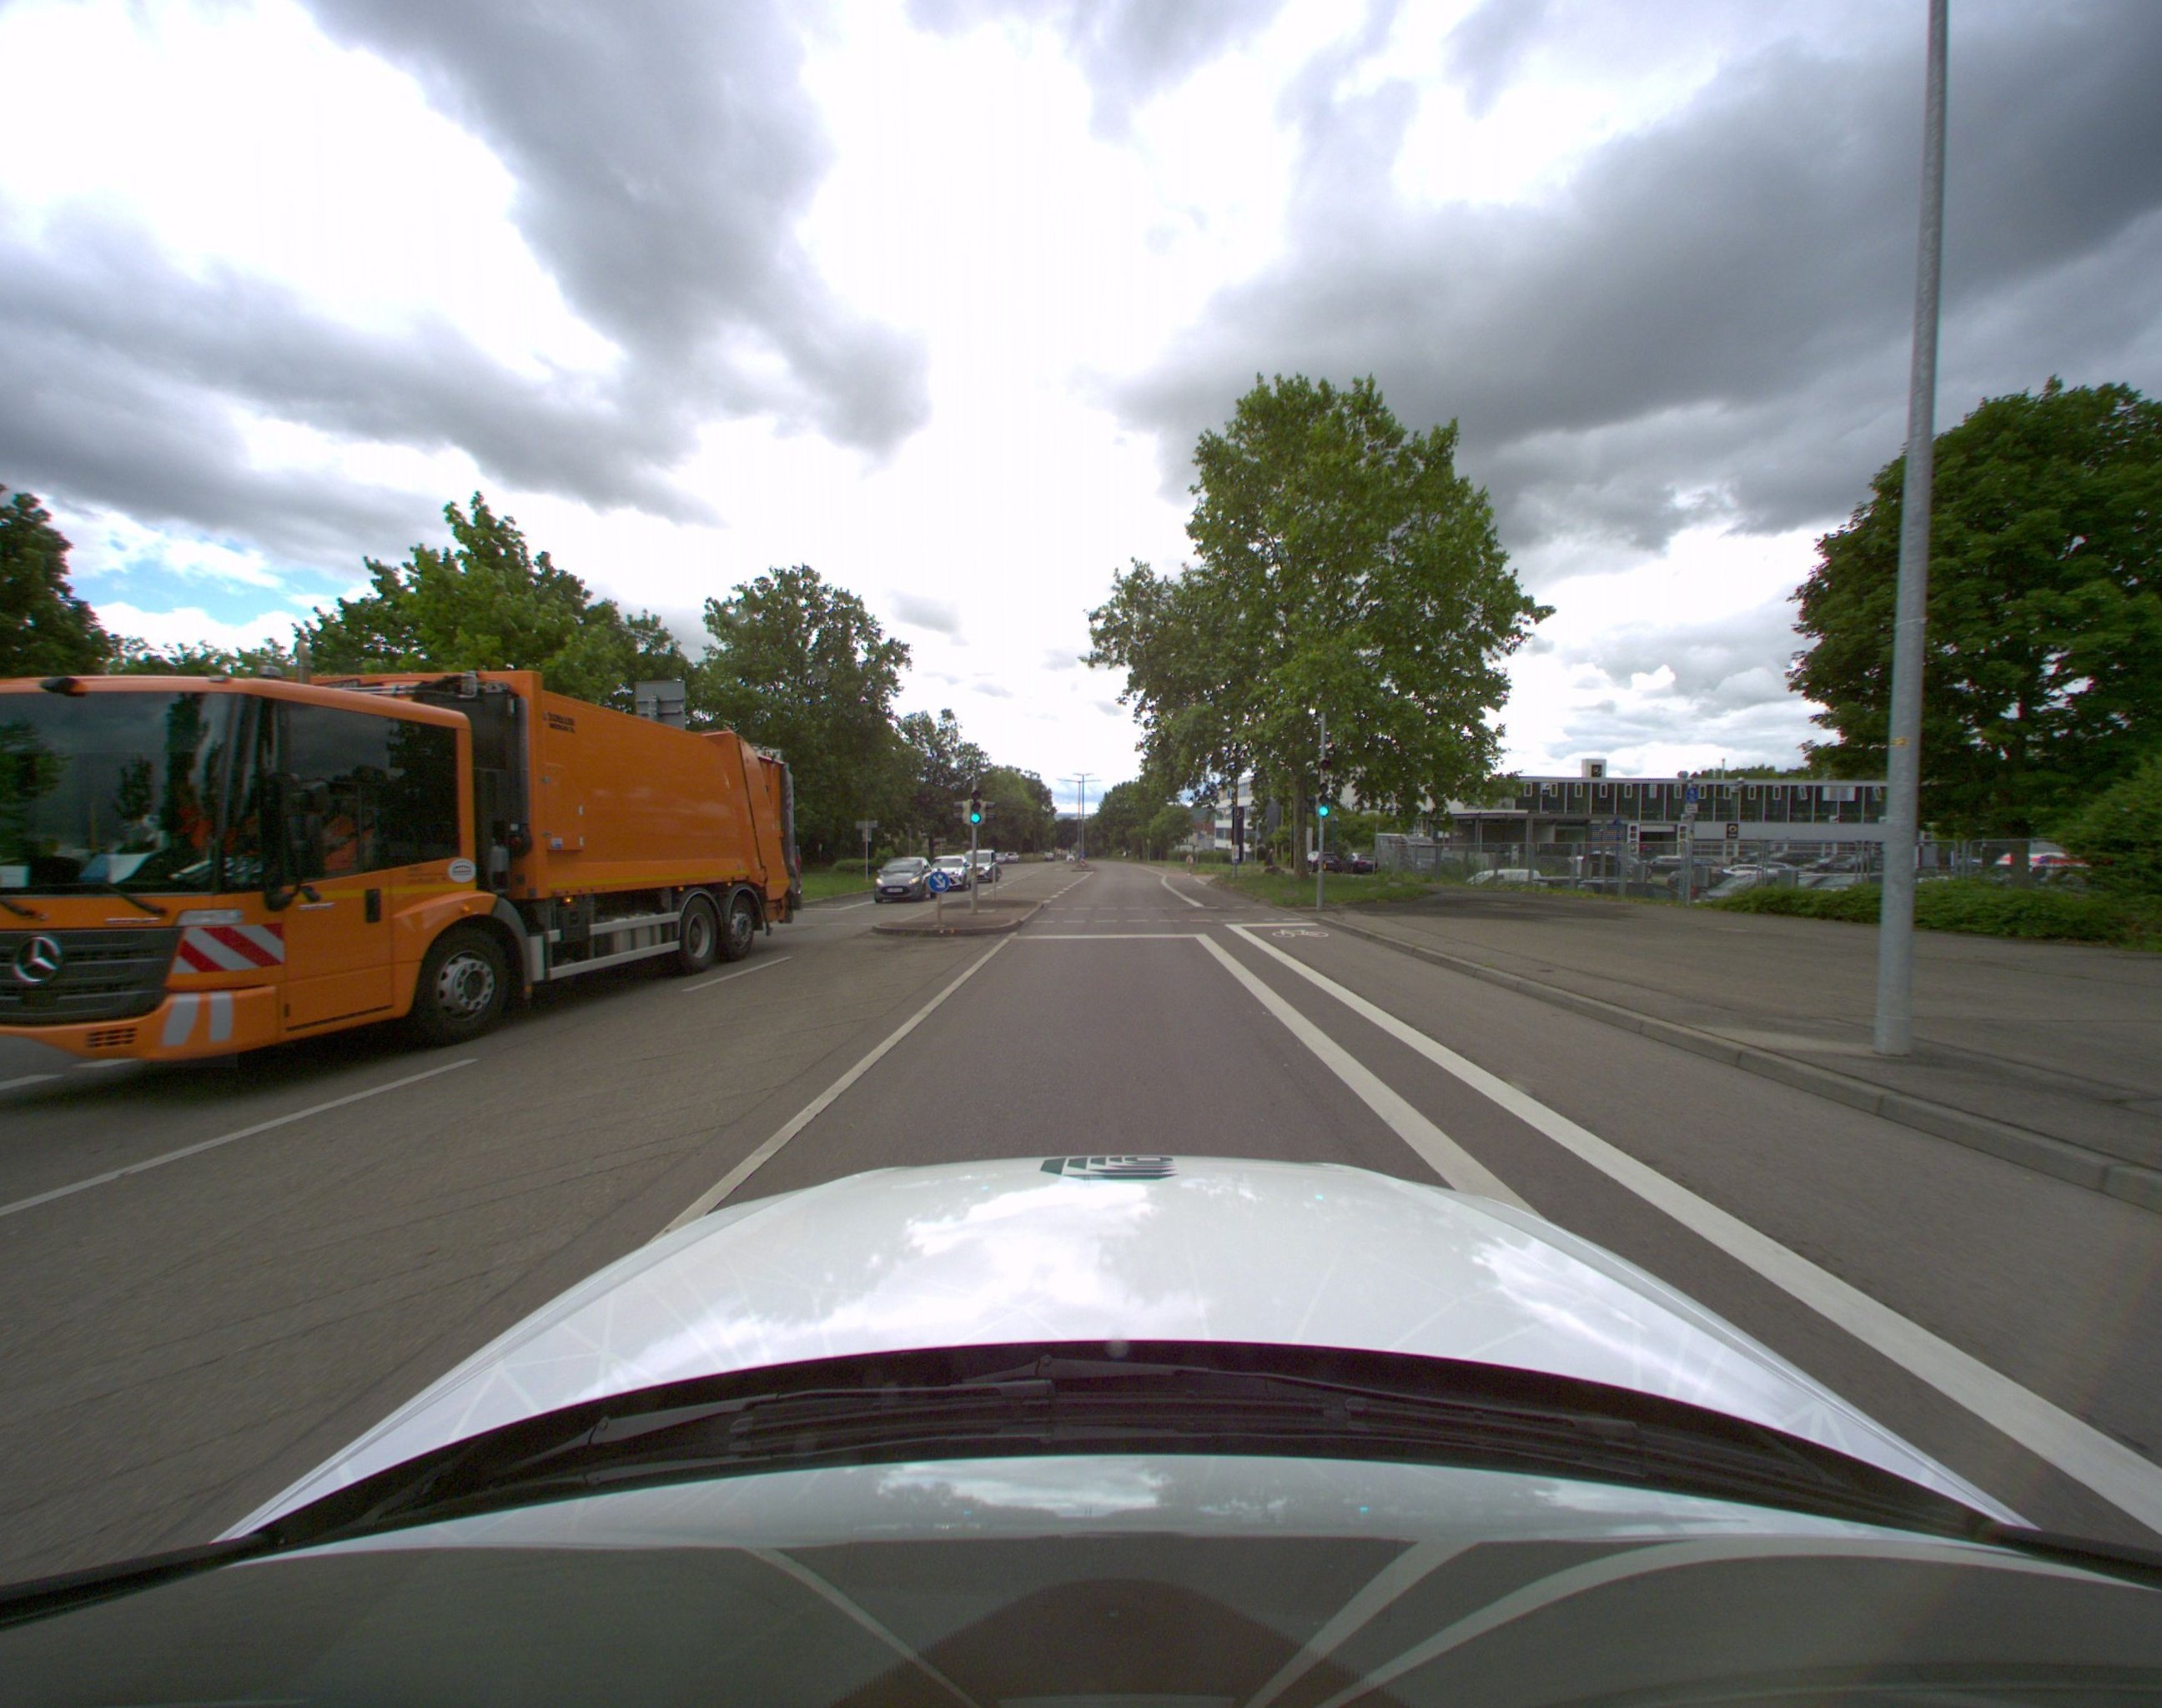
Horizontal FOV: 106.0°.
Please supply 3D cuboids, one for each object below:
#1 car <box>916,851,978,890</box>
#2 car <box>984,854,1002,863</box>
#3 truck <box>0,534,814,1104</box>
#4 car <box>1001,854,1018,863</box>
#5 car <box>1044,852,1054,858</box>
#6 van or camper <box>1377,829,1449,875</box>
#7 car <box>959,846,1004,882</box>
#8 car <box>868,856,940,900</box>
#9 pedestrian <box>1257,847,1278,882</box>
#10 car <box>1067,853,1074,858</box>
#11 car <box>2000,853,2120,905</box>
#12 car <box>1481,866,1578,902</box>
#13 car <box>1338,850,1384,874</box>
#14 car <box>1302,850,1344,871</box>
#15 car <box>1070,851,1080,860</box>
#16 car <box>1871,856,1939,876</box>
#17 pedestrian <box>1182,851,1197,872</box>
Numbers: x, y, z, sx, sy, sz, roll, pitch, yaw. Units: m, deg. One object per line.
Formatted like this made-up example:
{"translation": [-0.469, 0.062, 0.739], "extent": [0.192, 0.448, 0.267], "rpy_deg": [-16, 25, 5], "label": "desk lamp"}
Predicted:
{"translation": [-5.753, 0.676, 35.596], "extent": [1.840, 1.520, 4.815], "rpy_deg": [-2, 0, 0], "label": "car"}
{"translation": [-12.153, 0.602, 112.684], "extent": [1.677, 1.304, 3.976], "rpy_deg": [0, 0, -18], "label": "car"}
{"translation": [-6.411, -0.274, 9.994], "extent": [2.695, 3.487, 9.999], "rpy_deg": [0, 1, 2], "label": "truck"}
{"translation": [-10.727, 0.637, 122.790], "extent": [1.663, 1.304, 4.008], "rpy_deg": [0, 0, 7], "label": "car"}
{"translation": [-6.236, 0.193, 160.909], "extent": [1.765, 1.304, 4.001], "rpy_deg": [0, 0, 1], "label": "car"}
{"translation": [21.885, -0.159, 54.064], "extent": [1.959, 2.868, 6.917], "rpy_deg": [0, 0, -1], "label": "van or camper"}
{"translation": [-5.440, 0.516, 44.995], "extent": [1.840, 1.803, 4.650], "rpy_deg": [-2, 0, 0], "label": "car"}
{"translation": [-5.910, 0.765, 27.519], "extent": [1.542, 1.331, 3.654], "rpy_deg": [-2, 0, 1], "label": "car"}
{"translation": [9.818, 0.530, 42.866], "extent": [0.739, 1.801, 0.868], "rpy_deg": [0, 0, 36], "label": "pedestrian"}
{"translation": [-2.498, 0.379, 191.915], "extent": [1.606, 1.304, 4.001], "rpy_deg": [0, 0, 1], "label": "car"}
{"translation": [50.023, 1.273, 41.667], "extent": [4.086, 2.568, 1.735], "rpy_deg": [0, 0, 1], "label": "car"}
{"translation": [21.279, 1.398, 38.686], "extent": [3.726, 1.618, 1.689], "rpy_deg": [0, 0, -4], "label": "car"}
{"translation": [18.964, 0.542, 55.339], "extent": [1.704, 1.508, 4.346], "rpy_deg": [2, 0, 2], "label": "car"}
{"translation": [16.299, 0.428, 55.126], "extent": [1.704, 1.354, 4.346], "rpy_deg": [0, 0, 2], "label": "car"}
{"translation": [-0.985, 0.236, 132.294], "extent": [1.606, 1.304, 4.001], "rpy_deg": [0, 0, 1], "label": "car"}
{"translation": [65.448, 0.941, 64.738], "extent": [3.621, 1.528, 1.626], "rpy_deg": [0, 0, 6], "label": "car"}
{"translation": [7.574, 0.540, 56.704], "extent": [0.791, 1.463, 0.744], "rpy_deg": [0, 0, -18], "label": "pedestrian"}
